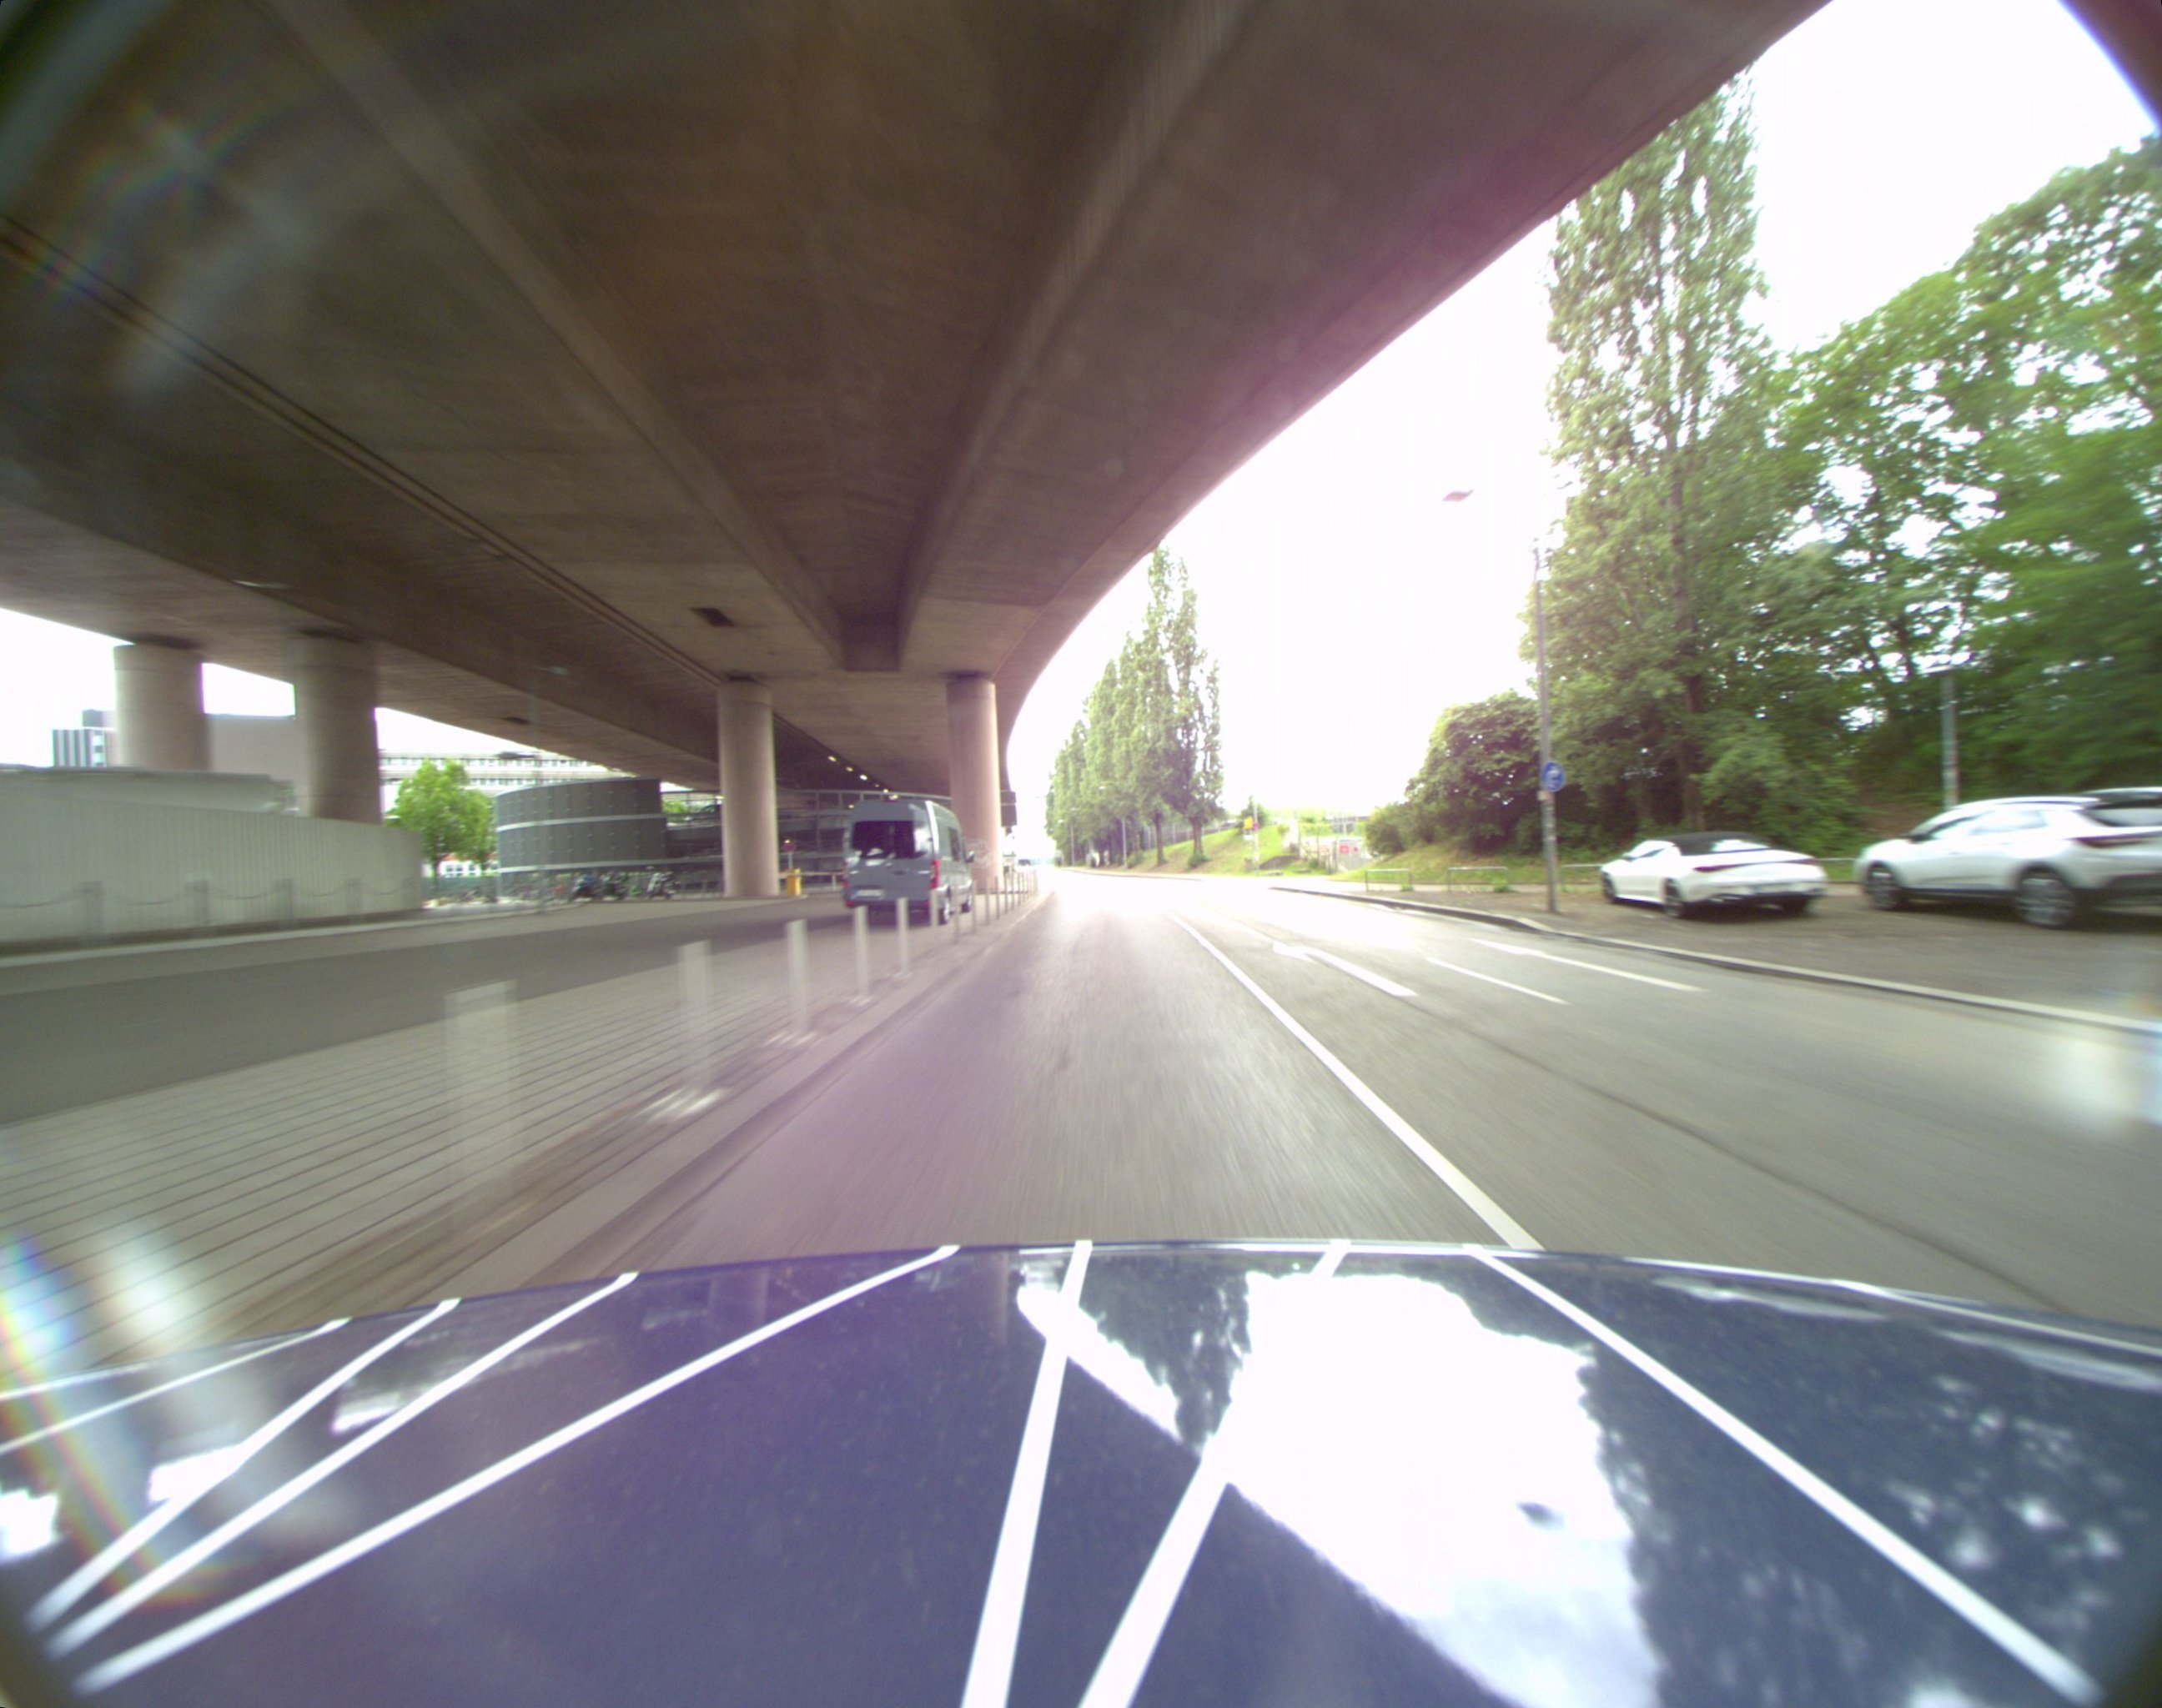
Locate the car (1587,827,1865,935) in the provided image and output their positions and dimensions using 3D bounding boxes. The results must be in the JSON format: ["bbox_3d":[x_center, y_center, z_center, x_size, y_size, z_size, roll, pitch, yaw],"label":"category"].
[{"bbox_3d":[11.496,0.353,14.090,1.997,1.471,4.832,-6,1,16],"label":"car"}]

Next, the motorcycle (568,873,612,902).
[{"bbox_3d":[-19.924,1.384,30.885,0.573,1.098,2.330,-2,-4,-7],"label":"motorcycle"}]

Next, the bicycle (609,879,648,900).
[{"bbox_3d":[-25.479,2.005,42.777,1.789,1.072,0.436,-2,-1,-15],"label":"bicycle"}]

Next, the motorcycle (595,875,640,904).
[{"bbox_3d":[-18.803,1.444,30.891,0.544,1.099,2.329,-2,-2,-4],"label":"motorcycle"}]

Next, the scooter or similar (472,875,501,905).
[{"bbox_3d":[-25.856,1.574,33.045,1.676,1.210,0.545,-5,-5,37],"label":"scooter or similar"}]

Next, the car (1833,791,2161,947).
[{"bbox_3d":[12.972,0.075,10.299,1.997,1.573,4.404,-6,0,16],"label":"car"}]

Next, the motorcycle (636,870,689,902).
[{"bbox_3d":[-17.043,1.302,31.028,0.784,1.227,2.537,-1,-2,-1],"label":"motorcycle"}]

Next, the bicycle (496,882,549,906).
[{"bbox_3d":[-25.250,1.804,34.353,2.061,1.017,0.396,-2,-1,1],"label":"bicycle"}]

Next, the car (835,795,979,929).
[{"bbox_3d":[-3.832,0.186,18.017,1.999,2.597,6.074,-1,0,0],"label":"car"}]

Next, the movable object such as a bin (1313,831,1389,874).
[{"bbox_3d":[17.693,-0.060,49.880,2.032,2.706,4.219,-1,0,-44],"label":"movable object such as a bin"}]

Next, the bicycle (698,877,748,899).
[{"bbox_3d":[-16.634,1.573,35.349,2.020,0.920,0.419,-2,-1,-14],"label":"bicycle"}]

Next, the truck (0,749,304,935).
[{"bbox_3d":[-26.135,-0.251,18.099,3.004,4.278,10.319,-1,0,37],"label":"truck"}]

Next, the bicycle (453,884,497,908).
[{"bbox_3d":[-27.581,1.900,34.578,1.733,1.017,0.437,-2,-1,5],"label":"bicycle"}]

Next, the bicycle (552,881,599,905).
[{"bbox_3d":[-22.936,1.765,34.486,1.734,0.976,0.437,-2,-1,-7],"label":"bicycle"}]

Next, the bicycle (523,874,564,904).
[{"bbox_3d":[-22.243,1.470,31.419,2.324,1.098,0.622,-5,-5,34],"label":"bicycle"}]
